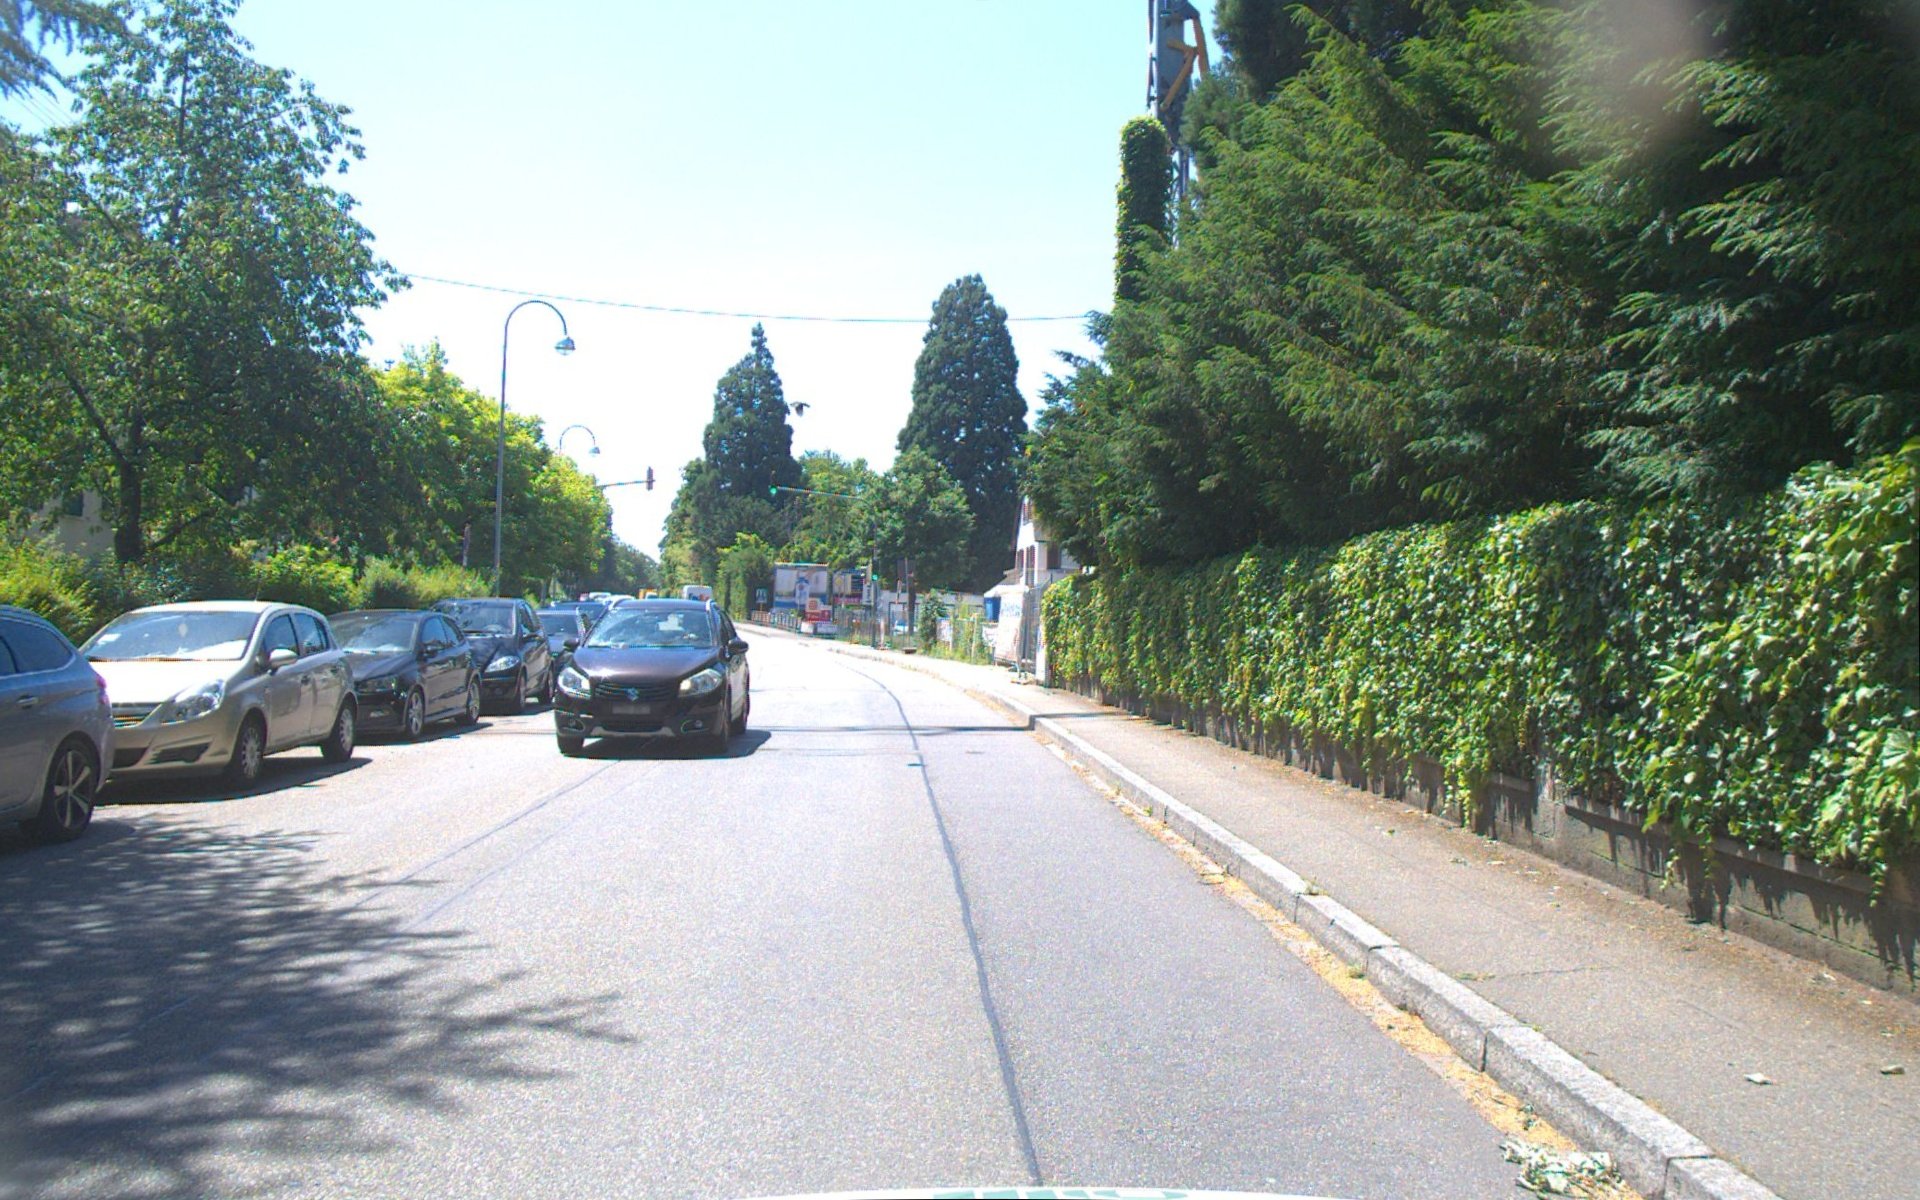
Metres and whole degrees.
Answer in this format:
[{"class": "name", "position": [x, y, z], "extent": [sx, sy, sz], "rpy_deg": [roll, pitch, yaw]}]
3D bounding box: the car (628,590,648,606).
[{"class": "car", "position": [-36.435, -0.191, 187.184], "extent": [1.960, 1.691, 3.985], "rpy_deg": [2, -1, -14]}]

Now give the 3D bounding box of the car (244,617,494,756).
[{"class": "car", "position": [-6.681, 0.917, 19.100], "extent": [1.647, 1.426, 3.788], "rpy_deg": [0, 0, -2]}]

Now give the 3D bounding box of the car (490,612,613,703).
[{"class": "car", "position": [-7.211, 0.962, 29.567], "extent": [1.649, 1.502, 4.323], "rpy_deg": [0, 0, -8]}]

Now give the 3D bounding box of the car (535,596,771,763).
[{"class": "car", "position": [-3.226, 0.795, 18.185], "extent": [1.860, 1.602, 4.140], "rpy_deg": [1, -1, -1]}]

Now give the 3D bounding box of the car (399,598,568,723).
[{"class": "car", "position": [-6.822, 0.817, 24.021], "extent": [1.648, 1.668, 3.786], "rpy_deg": [0, 0, -5]}]

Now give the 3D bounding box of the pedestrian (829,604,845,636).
[{"class": "pedestrian", "position": [-6.463, 1.033, 87.027], "extent": [0.683, 1.628, 0.571], "rpy_deg": [3, -1, -14]}]

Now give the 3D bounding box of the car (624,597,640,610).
[{"class": "car", "position": [-44.891, 0.502, 226.194], "extent": [1.960, 1.691, 3.985], "rpy_deg": [2, -1, -14]}]

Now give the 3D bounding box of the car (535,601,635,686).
[{"class": "car", "position": [-7.851, 0.873, 34.944], "extent": [1.649, 1.666, 4.323], "rpy_deg": [0, 0, -8]}]

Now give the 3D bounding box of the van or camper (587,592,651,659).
[{"class": "van or camper", "position": [-9.757, 0.721, 47.522], "extent": [1.650, 1.836, 3.976], "rpy_deg": [0, 0, -9]}]

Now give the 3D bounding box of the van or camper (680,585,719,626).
[{"class": "van or camper", "position": [-16.878, 0.373, 107.045], "extent": [2.222, 2.572, 4.746], "rpy_deg": [1, 0, -12]}]

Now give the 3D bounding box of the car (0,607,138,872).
[{"class": "car", "position": [-6.165, 0.768, 8.609], "extent": [1.760, 1.467, 4.270], "rpy_deg": [0, 0, -2]}]

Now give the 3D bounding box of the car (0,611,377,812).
[{"class": "car", "position": [-6.433, 0.825, 14.004], "extent": [1.760, 1.467, 3.783], "rpy_deg": [0, 0, -2]}]
